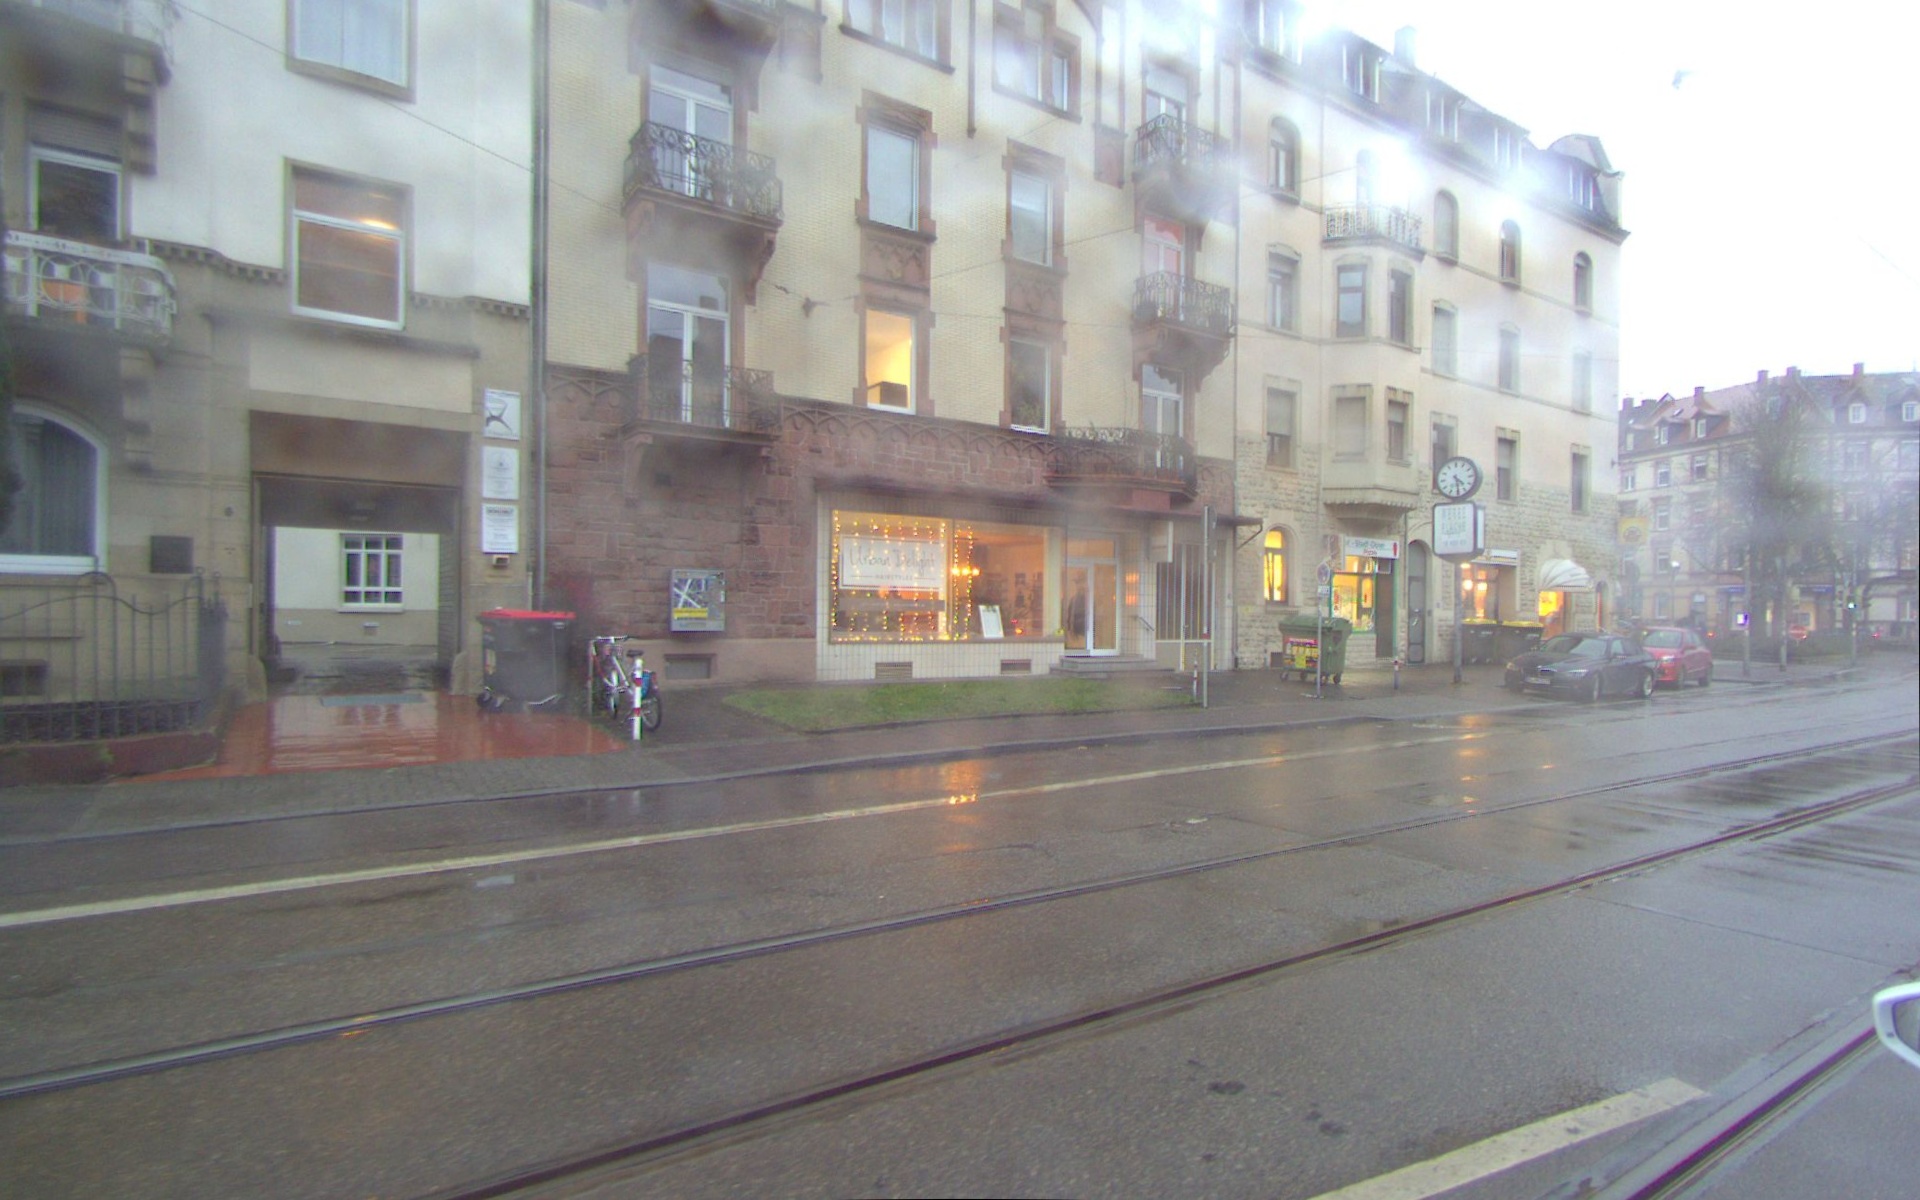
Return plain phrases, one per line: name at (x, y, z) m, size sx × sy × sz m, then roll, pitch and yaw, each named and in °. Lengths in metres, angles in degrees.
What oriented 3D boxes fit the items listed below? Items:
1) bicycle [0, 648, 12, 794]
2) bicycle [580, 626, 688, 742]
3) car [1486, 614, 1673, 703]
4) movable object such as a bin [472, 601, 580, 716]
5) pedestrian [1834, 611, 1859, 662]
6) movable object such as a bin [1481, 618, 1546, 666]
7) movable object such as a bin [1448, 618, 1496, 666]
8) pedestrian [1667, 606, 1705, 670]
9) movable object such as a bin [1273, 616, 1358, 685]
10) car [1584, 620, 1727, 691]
bicycle at (-8.020, 0.917, 7.220) m, size 1.644 × 1.107 × 0.620 m, roll 1°, pitch -1°, yaw -32°
bicycle at (-3.928, 0.934, 11.962) m, size 0.687 × 1.120 × 2.336 m, roll 1°, pitch 2°, yaw -32°
car at (14.258, 1.294, 23.046) m, size 4.587 × 1.667 × 1.972 m, roll 2°, pitch 3°, yaw -36°
movable object such as a bin at (-5.776, 0.743, 13.344) m, size 1.155 × 1.398 × 1.096 m, roll 1°, pitch 2°, yaw -32°
pedestrian at (35.921, 1.453, 40.703) m, size 0.695 × 2.040 × 0.658 m, roll 0°, pitch 0°, yaw 37°
movable object such as a bin at (16.679, 1.259, 30.300) m, size 1.239 × 1.385 × 1.286 m, roll 1°, pitch 0°, yaw -33°
movable object such as a bin at (15.331, 1.238, 30.076) m, size 0.996 × 1.396 × 0.893 m, roll 1°, pitch 0°, yaw -33°
pedestrian at (23.620, 1.218, 32.693) m, size 0.635 × 2.040 × 0.758 m, roll 2°, pitch 0°, yaw 3°
movable object such as a bin at (7.790, 1.090, 22.044) m, size 1.236 × 1.439 × 1.260 m, roll 1°, pitch 0°, yaw -33°
car at (18.627, 1.422, 26.853) m, size 3.996 × 1.573 × 2.021 m, roll 0°, pitch 3°, yaw -39°
